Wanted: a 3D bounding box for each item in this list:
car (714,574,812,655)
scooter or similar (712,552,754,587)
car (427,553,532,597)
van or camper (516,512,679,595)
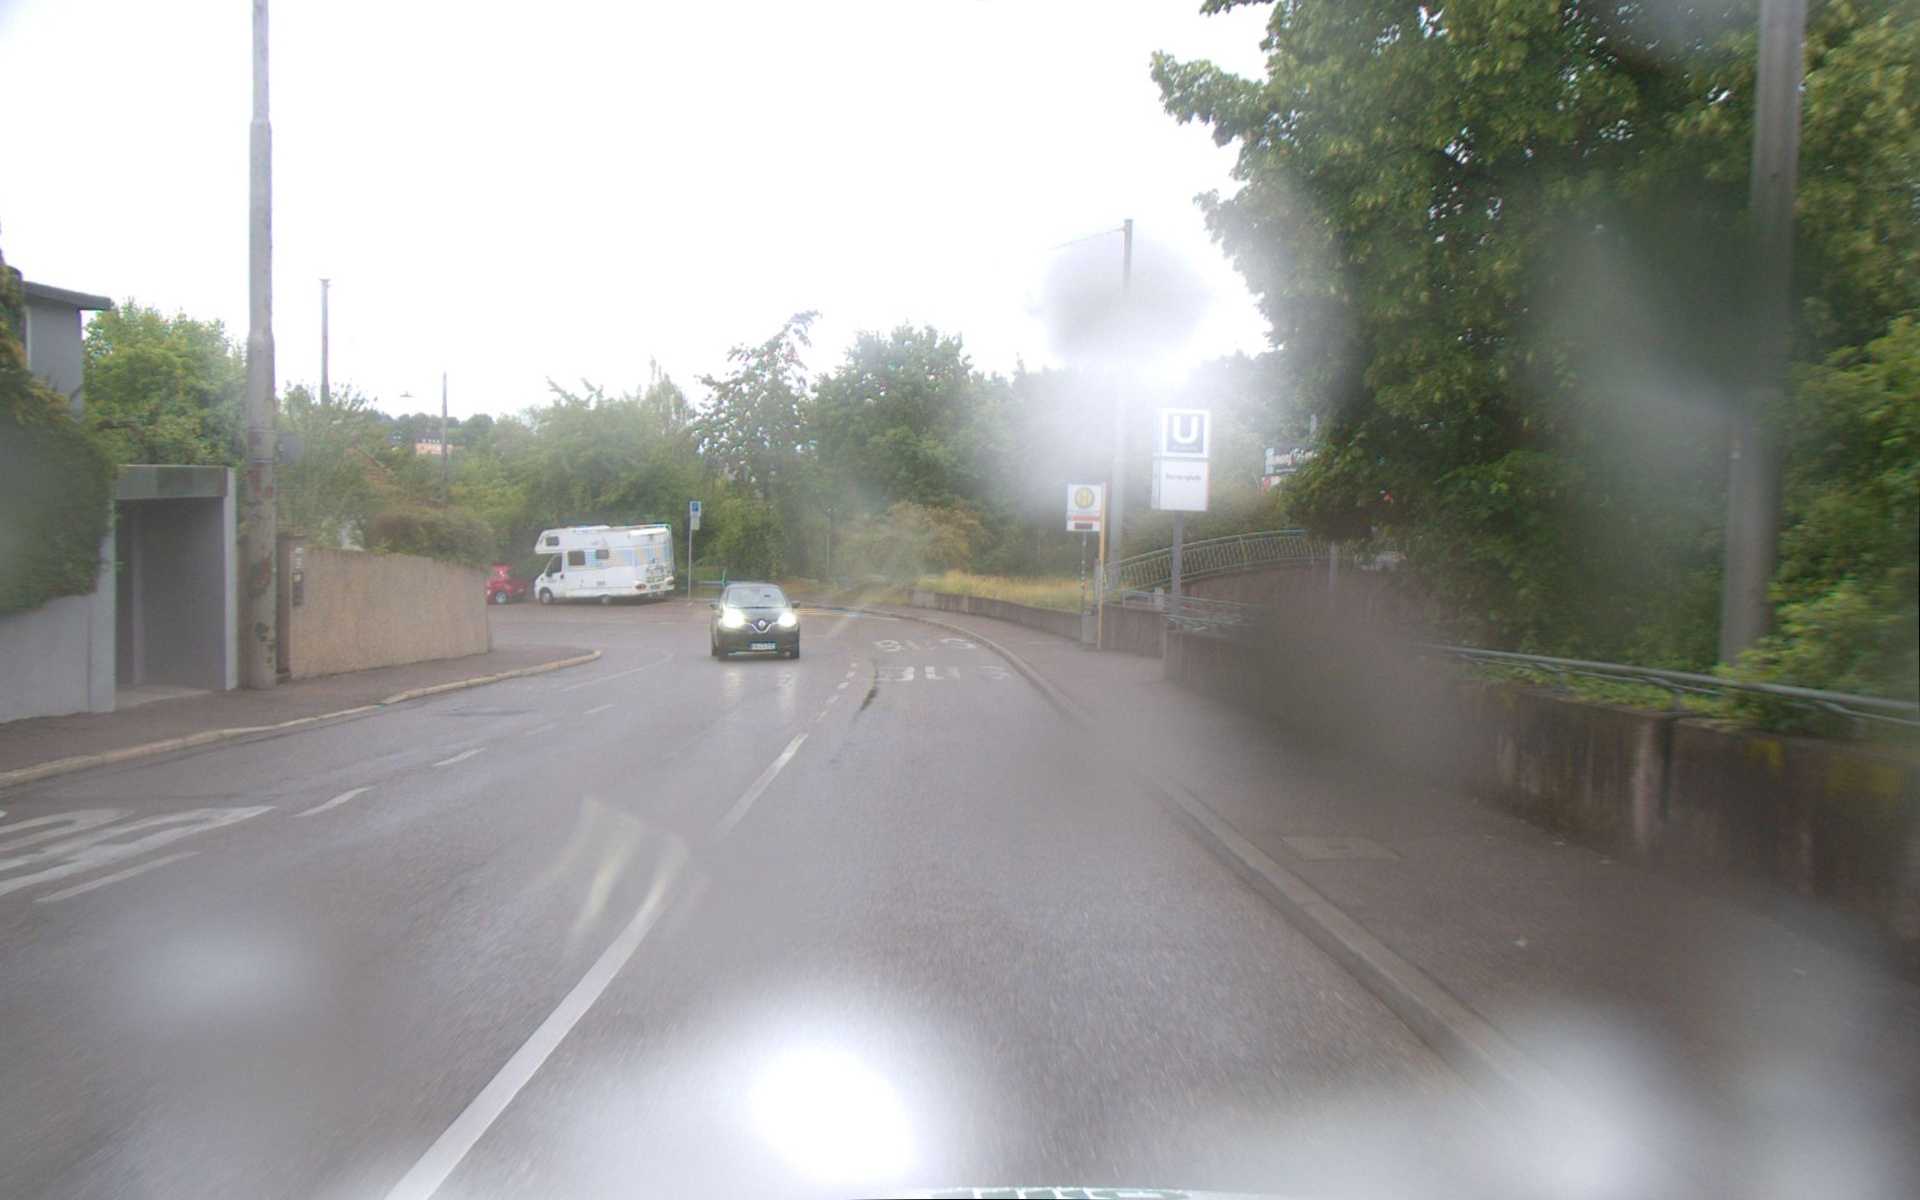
[{"bbox_3d":[-4.251,0.251,35.186,1.736,1.547,3.964,-1,2,-12],"label":"car"},{"bbox_3d":[-8.967,-1.198,65.445,1.672,1.304,0.451,-1,3,31],"label":"scooter or similar"},{"bbox_3d":[-19.704,-1.033,67.917,3.713,1.485,1.649,-2,6,10],"label":"car"},{"bbox_3d":[-14.391,-1.842,65.635,6.144,2.993,2.395,0,7,30],"label":"van or camper"}]
